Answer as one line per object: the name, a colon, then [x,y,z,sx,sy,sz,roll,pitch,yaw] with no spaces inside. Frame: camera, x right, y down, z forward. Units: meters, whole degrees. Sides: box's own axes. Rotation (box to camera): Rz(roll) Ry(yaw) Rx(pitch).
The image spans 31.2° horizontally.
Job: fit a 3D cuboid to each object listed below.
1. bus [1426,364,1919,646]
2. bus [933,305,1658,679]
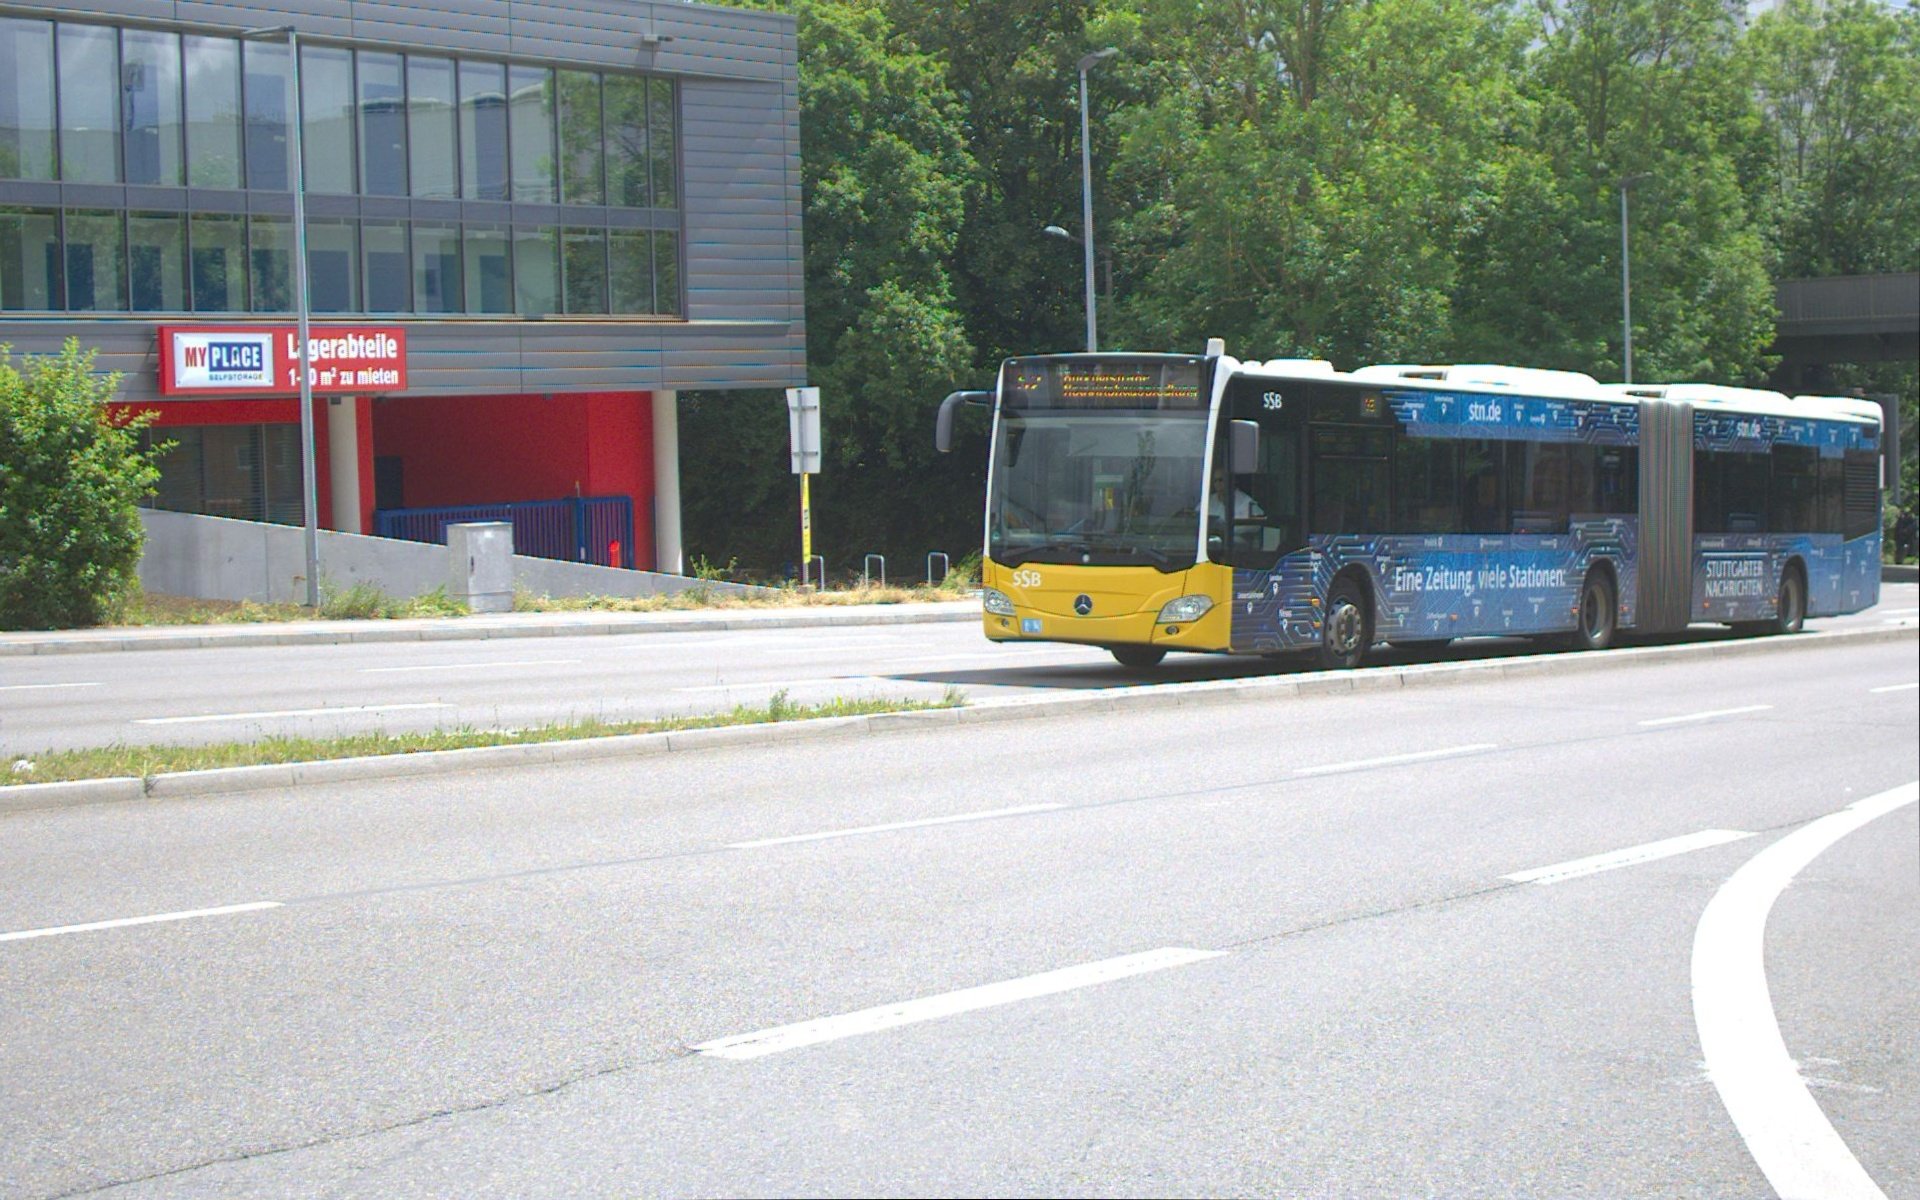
bus: [9.112,-1.247,42.953,2.821,3.153,8.890,2,3,34]
bus: [3.775,-1.069,35.110,2.821,3.274,10.100,2,2,34]
